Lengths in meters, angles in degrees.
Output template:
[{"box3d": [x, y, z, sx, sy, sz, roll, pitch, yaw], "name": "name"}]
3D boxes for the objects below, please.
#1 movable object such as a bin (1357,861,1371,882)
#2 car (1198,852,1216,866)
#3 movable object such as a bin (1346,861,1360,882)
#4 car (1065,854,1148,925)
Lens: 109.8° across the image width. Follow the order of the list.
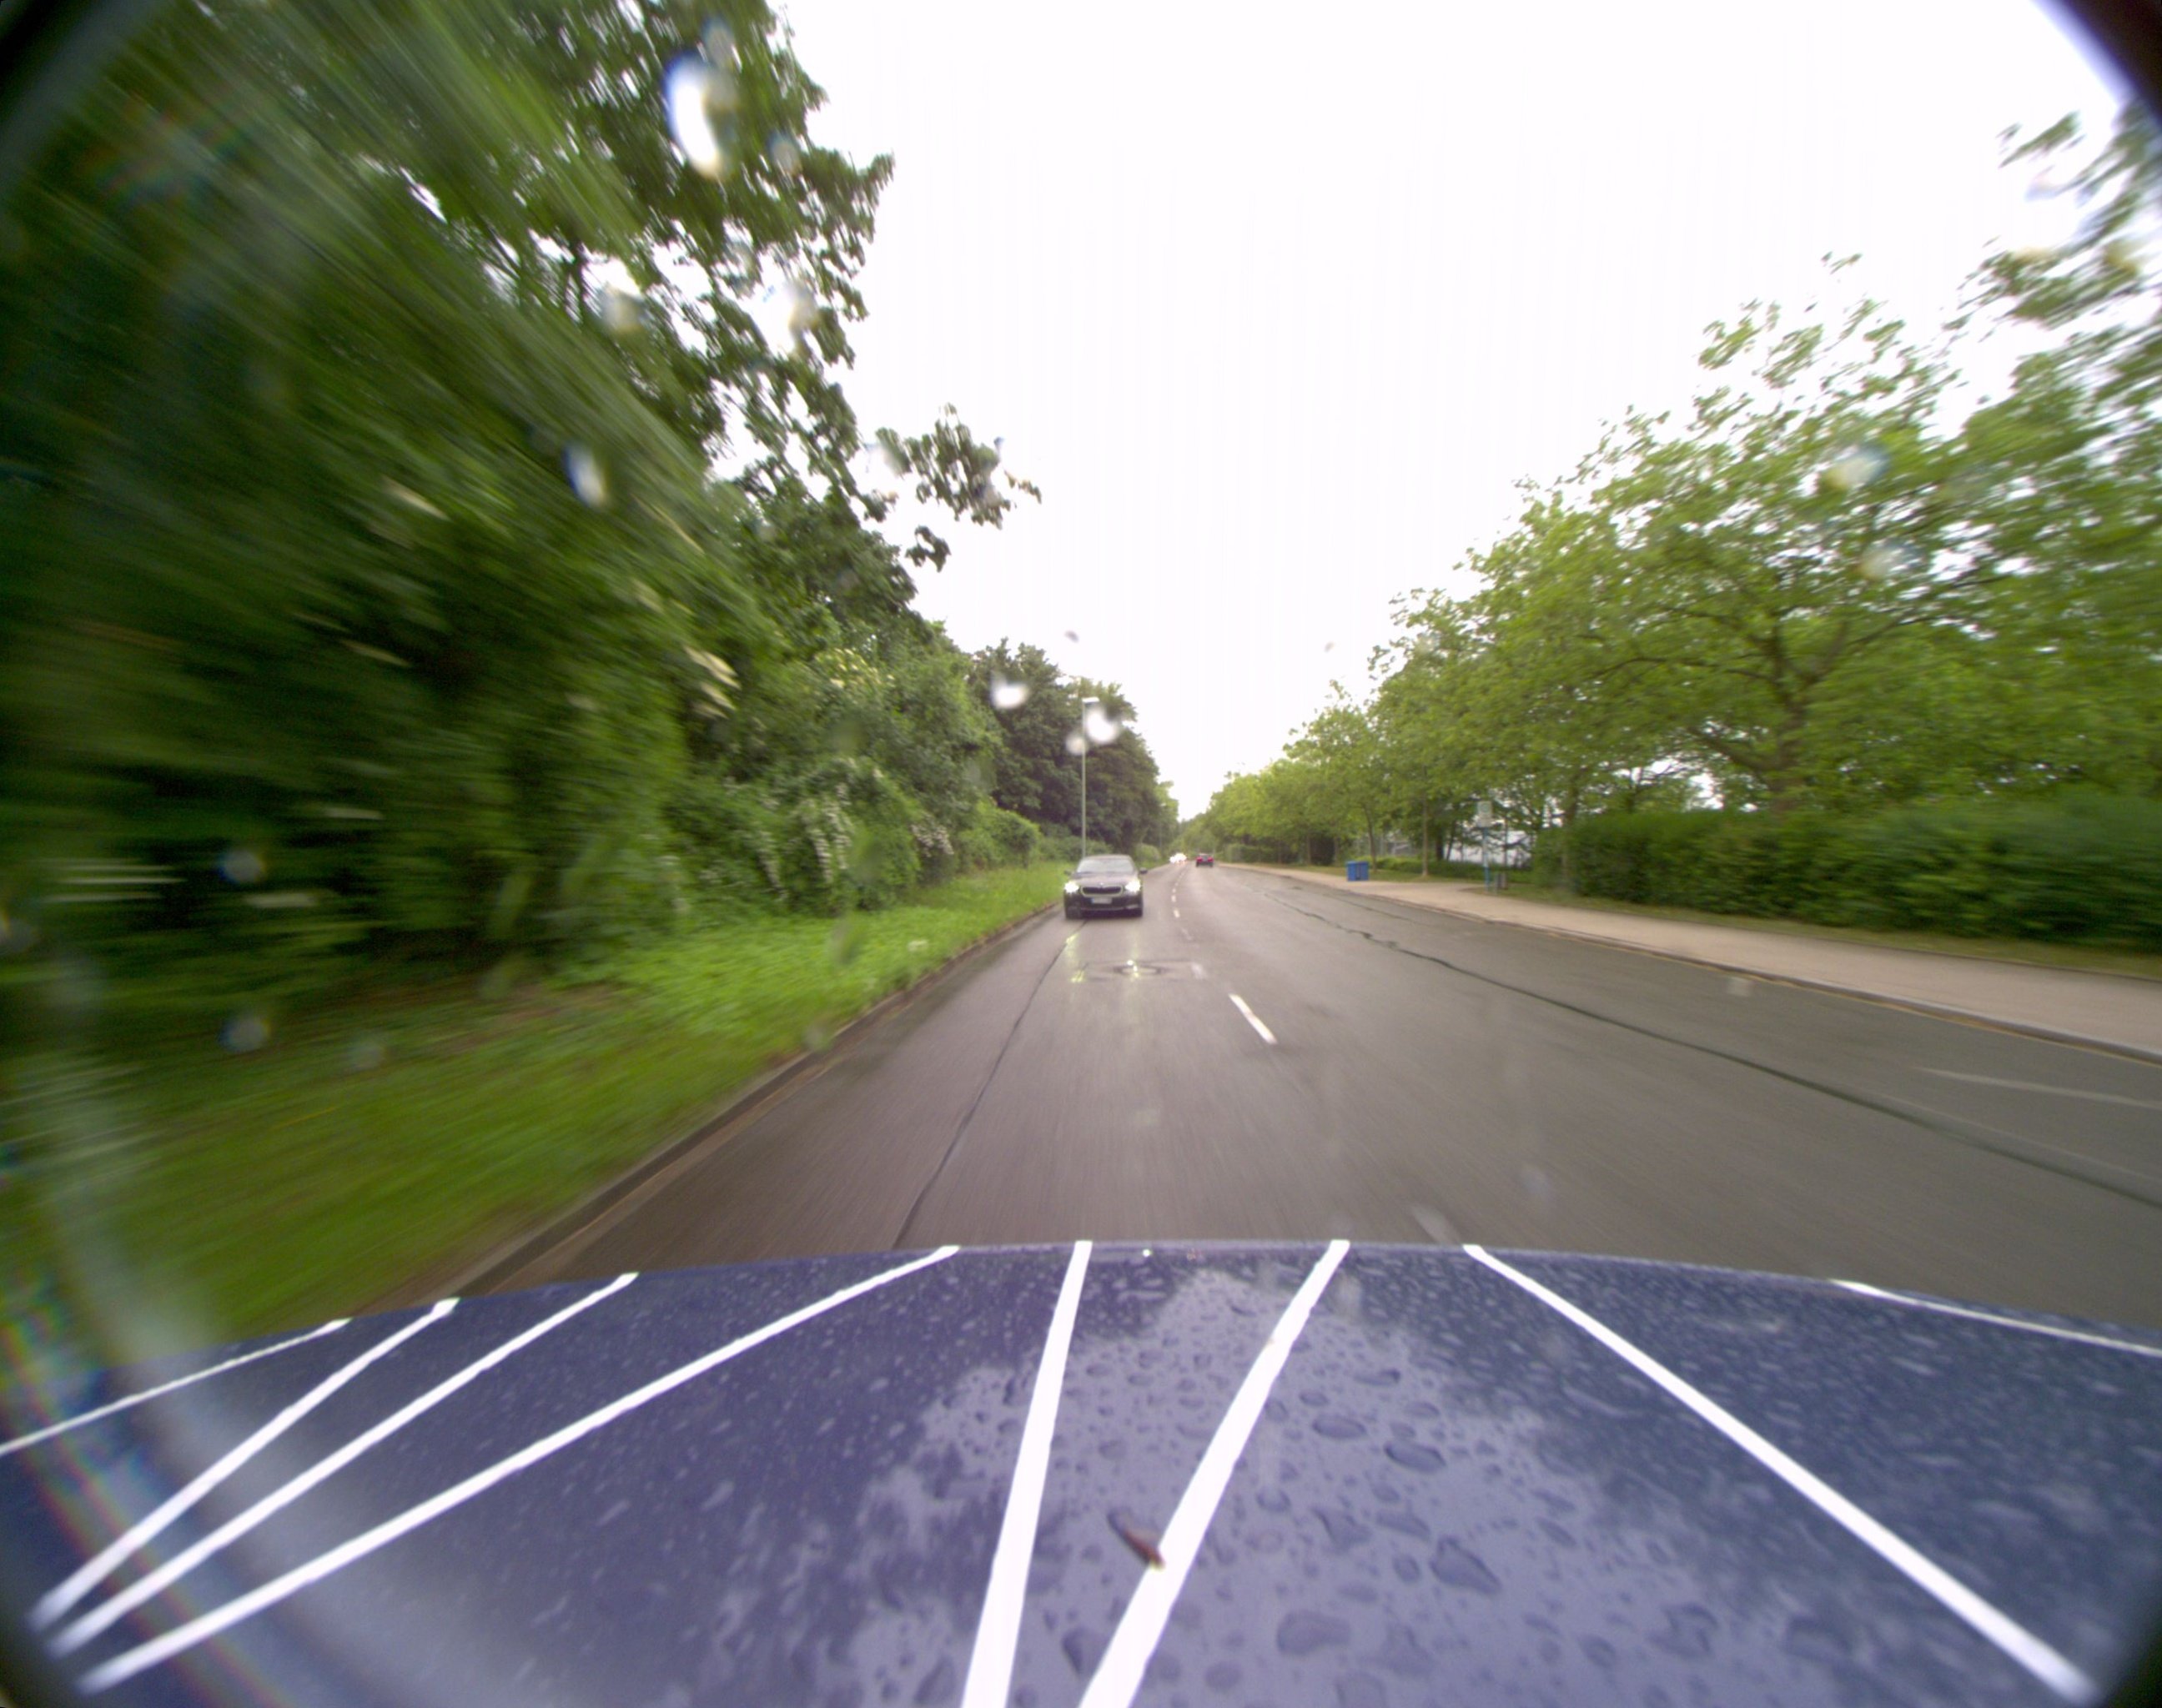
[{"box3d": [15.414, 0.930, 41.439, 0.567, 1.092, 0.672, -2, 1, 10], "name": "movable object such as a bin"}, {"box3d": [13.599, 0.521, 82.178, 1.829, 1.456, 4.002, 1, 1, 9], "name": "car"}, {"box3d": [14.774, 0.947, 41.274, 0.567, 1.092, 0.672, -2, 1, 10], "name": "movable object such as a bin"}, {"box3d": [0.659, 0.814, 19.537, 1.832, 1.499, 4.498, -2, 1, 2], "name": "car"}]
